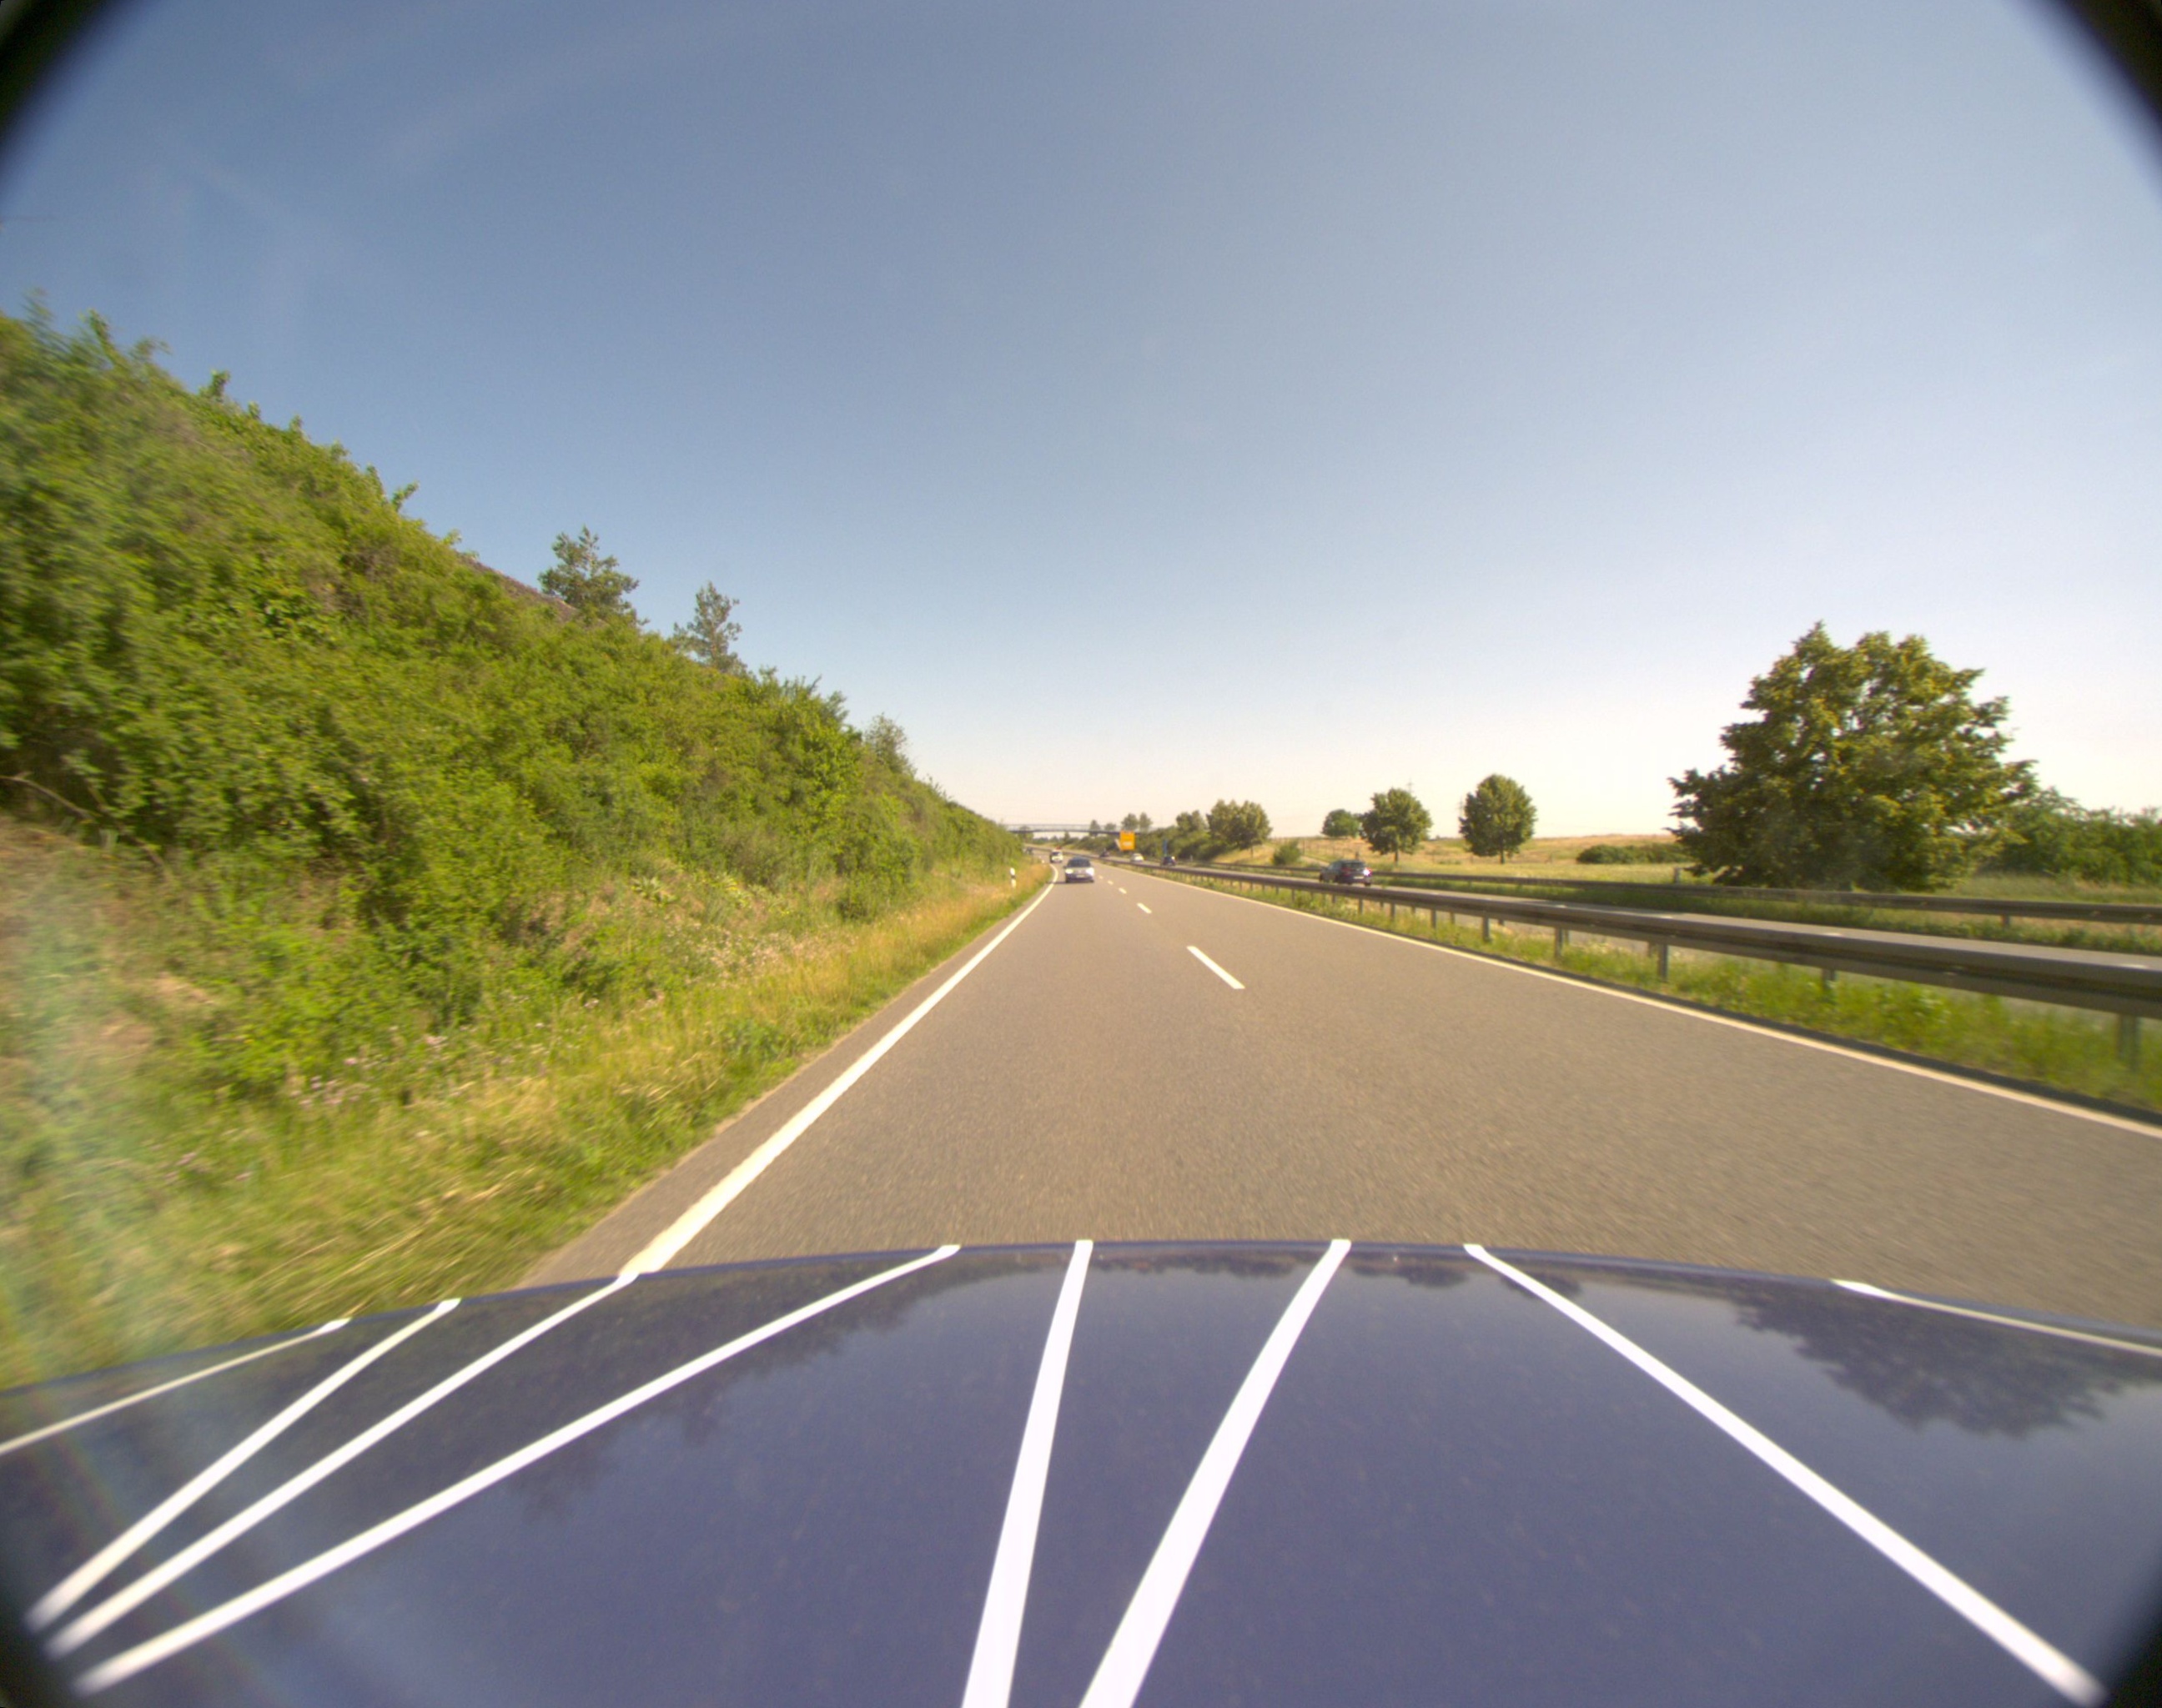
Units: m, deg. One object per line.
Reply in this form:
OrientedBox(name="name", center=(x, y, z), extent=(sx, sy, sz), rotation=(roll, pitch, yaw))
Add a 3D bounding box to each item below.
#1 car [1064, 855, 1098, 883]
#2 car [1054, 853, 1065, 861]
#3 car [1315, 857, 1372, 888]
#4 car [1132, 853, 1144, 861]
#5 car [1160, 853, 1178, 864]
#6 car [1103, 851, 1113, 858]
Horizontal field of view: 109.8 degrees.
OrientedBox(name="car", center=(0.040, 0.922, 47.919), extent=(1.854, 1.635, 4.001), rotation=(-1, 0, 4))
OrientedBox(name="car", center=(-3.646, 0.514, 126.654), extent=(1.791, 1.212, 3.998), rotation=(0, 1, -3))
OrientedBox(name="car", center=(14.635, 0.998, 42.561), extent=(1.656, 1.544, 4.561), rotation=(-2, 0, 1))
OrientedBox(name="car", center=(10.170, 0.493, 135.824), extent=(1.673, 1.424, 4.347), rotation=(-2, 1, -1))
OrientedBox(name="car", center=(12.236, 0.615, 105.870), extent=(1.759, 1.524, 3.999), rotation=(-2, 0, -2))
OrientedBox(name="car", center=(6.093, 0.118, 172.099), extent=(1.876, 1.393, 4.321), rotation=(-2, 1, -2))
